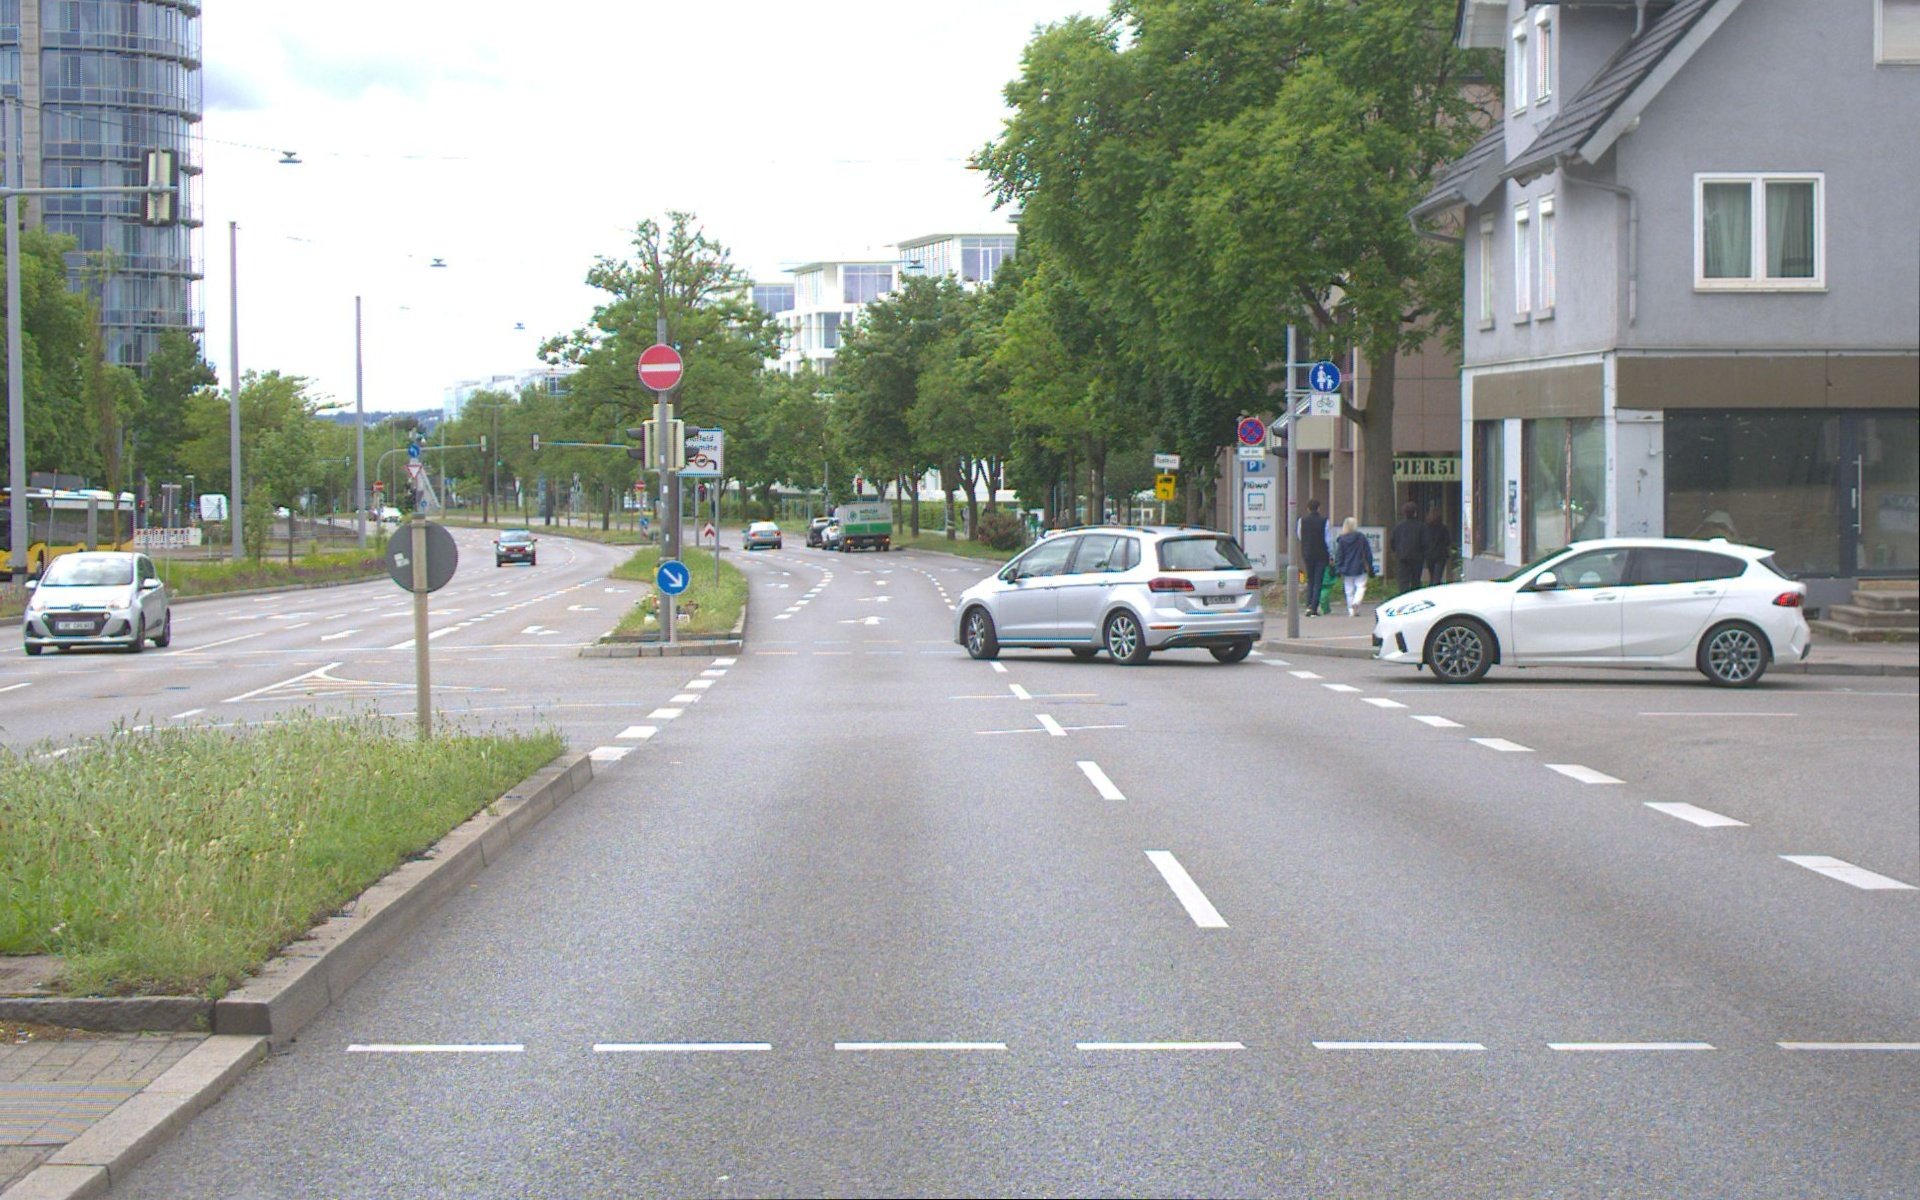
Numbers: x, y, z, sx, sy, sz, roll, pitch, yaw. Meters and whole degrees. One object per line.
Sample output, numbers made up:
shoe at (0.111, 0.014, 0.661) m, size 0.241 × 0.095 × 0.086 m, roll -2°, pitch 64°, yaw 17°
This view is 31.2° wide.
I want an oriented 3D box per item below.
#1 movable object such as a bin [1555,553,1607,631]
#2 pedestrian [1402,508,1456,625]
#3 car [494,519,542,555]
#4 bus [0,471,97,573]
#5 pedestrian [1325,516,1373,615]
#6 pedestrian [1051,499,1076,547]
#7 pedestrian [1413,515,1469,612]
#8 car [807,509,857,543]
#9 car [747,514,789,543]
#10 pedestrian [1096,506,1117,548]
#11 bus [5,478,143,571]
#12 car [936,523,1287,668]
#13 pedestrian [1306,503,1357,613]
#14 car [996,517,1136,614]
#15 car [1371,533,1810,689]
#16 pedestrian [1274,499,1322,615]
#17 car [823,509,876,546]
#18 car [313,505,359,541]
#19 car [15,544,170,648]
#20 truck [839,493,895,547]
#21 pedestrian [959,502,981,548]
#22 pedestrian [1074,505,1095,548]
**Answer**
movable object such as a bin at (7.956, -0.103, 44.056) m, size 0.529 × 0.976 × 0.736 m, roll -1°, pitch 1°, yaw -1°
pedestrian at (7.129, -0.513, 52.259) m, size 0.705 × 1.754 × 1.052 m, roll -1°, pitch 1°, yaw 2°
car at (-18.952, -2.699, 147.492) m, size 1.702 × 1.487 × 3.562 m, roll -1°, pitch 1°, yaw -1°
bus at (-31.394, -2.565, 114.475) m, size 3.144 × 3.214 × 10.286 m, roll -1°, pitch 1°, yaw -3°
pedestrian at (5.952, -0.530, 52.585) m, size 0.705 × 1.502 × 0.870 m, roll -1°, pitch 1°, yaw 8°
pedestrian at (4.441, -3.297, 147.244) m, size 0.971 × 2.007 × 0.981 m, roll 1°, pitch 0°, yaw -1°
pedestrian at (8.296, -0.633, 59.262) m, size 0.706 × 1.656 × 0.869 m, roll -1°, pitch 1°, yaw 25°
car at (-6.499, -3.738, 173.867) m, size 2.250 × 1.641 × 4.934 m, roll -1°, pitch 1°, yaw -5°
car at (-9.685, -3.592, 173.160) m, size 1.967 × 1.415 × 4.023 m, roll -1°, pitch 1°, yaw -5°
pedestrian at (5.450, -2.709, 127.510) m, size 0.650 × 1.564 × 0.671 m, roll -1°, pitch 1°, yaw -8°
bus at (-31.732, -2.706, 123.478) m, size 3.144 × 3.214 × 7.766 m, roll -1°, pitch 1°, yaw -2°
car at (1.711, -0.080, 40.082) m, size 1.823 × 1.535 × 4.113 m, roll 1°, pitch 1°, yaw -38°
pedestrian at (6.096, -0.690, 56.385) m, size 0.705 × 1.773 × 0.870 m, roll 0°, pitch 1°, yaw 14°
car at (1.688, -0.571, 56.033) m, size 1.889 × 1.489 × 4.099 m, roll -1°, pitch 1°, yaw -3°
car at (6.336, 0.090, 34.913) m, size 4.243 × 1.472 × 1.999 m, roll 1°, pitch 1°, yaw 8°
pedestrian at (5.204, -0.664, 52.963) m, size 0.705 × 1.773 × 0.870 m, roll -1°, pitch 1°, yaw 5°
car at (-5.304, -3.474, 165.074) m, size 2.251 × 1.751 × 4.934 m, roll -1°, pitch 1°, yaw -5°
car at (-36.325, -4.458, 200.272) m, size 1.965 × 2.007 × 4.000 m, roll 1°, pitch 1°, yaw -1°
car at (-12.807, -0.090, 50.933) m, size 1.684 × 1.457 × 3.556 m, roll -1°, pitch 1°, yaw -5°
truck at (-4.259, -3.642, 156.476) m, size 2.251 × 2.408 × 4.934 m, roll 0°, pitch 1°, yaw -5°
pedestrian at (0.493, -3.828, 175.885) m, size 0.930 × 2.300 × 1.011 m, roll 1°, pitch 0°, yaw -10°
pedestrian at (4.631, -2.724, 127.582) m, size 0.650 × 1.564 × 0.671 m, roll -1°, pitch 1°, yaw -8°
